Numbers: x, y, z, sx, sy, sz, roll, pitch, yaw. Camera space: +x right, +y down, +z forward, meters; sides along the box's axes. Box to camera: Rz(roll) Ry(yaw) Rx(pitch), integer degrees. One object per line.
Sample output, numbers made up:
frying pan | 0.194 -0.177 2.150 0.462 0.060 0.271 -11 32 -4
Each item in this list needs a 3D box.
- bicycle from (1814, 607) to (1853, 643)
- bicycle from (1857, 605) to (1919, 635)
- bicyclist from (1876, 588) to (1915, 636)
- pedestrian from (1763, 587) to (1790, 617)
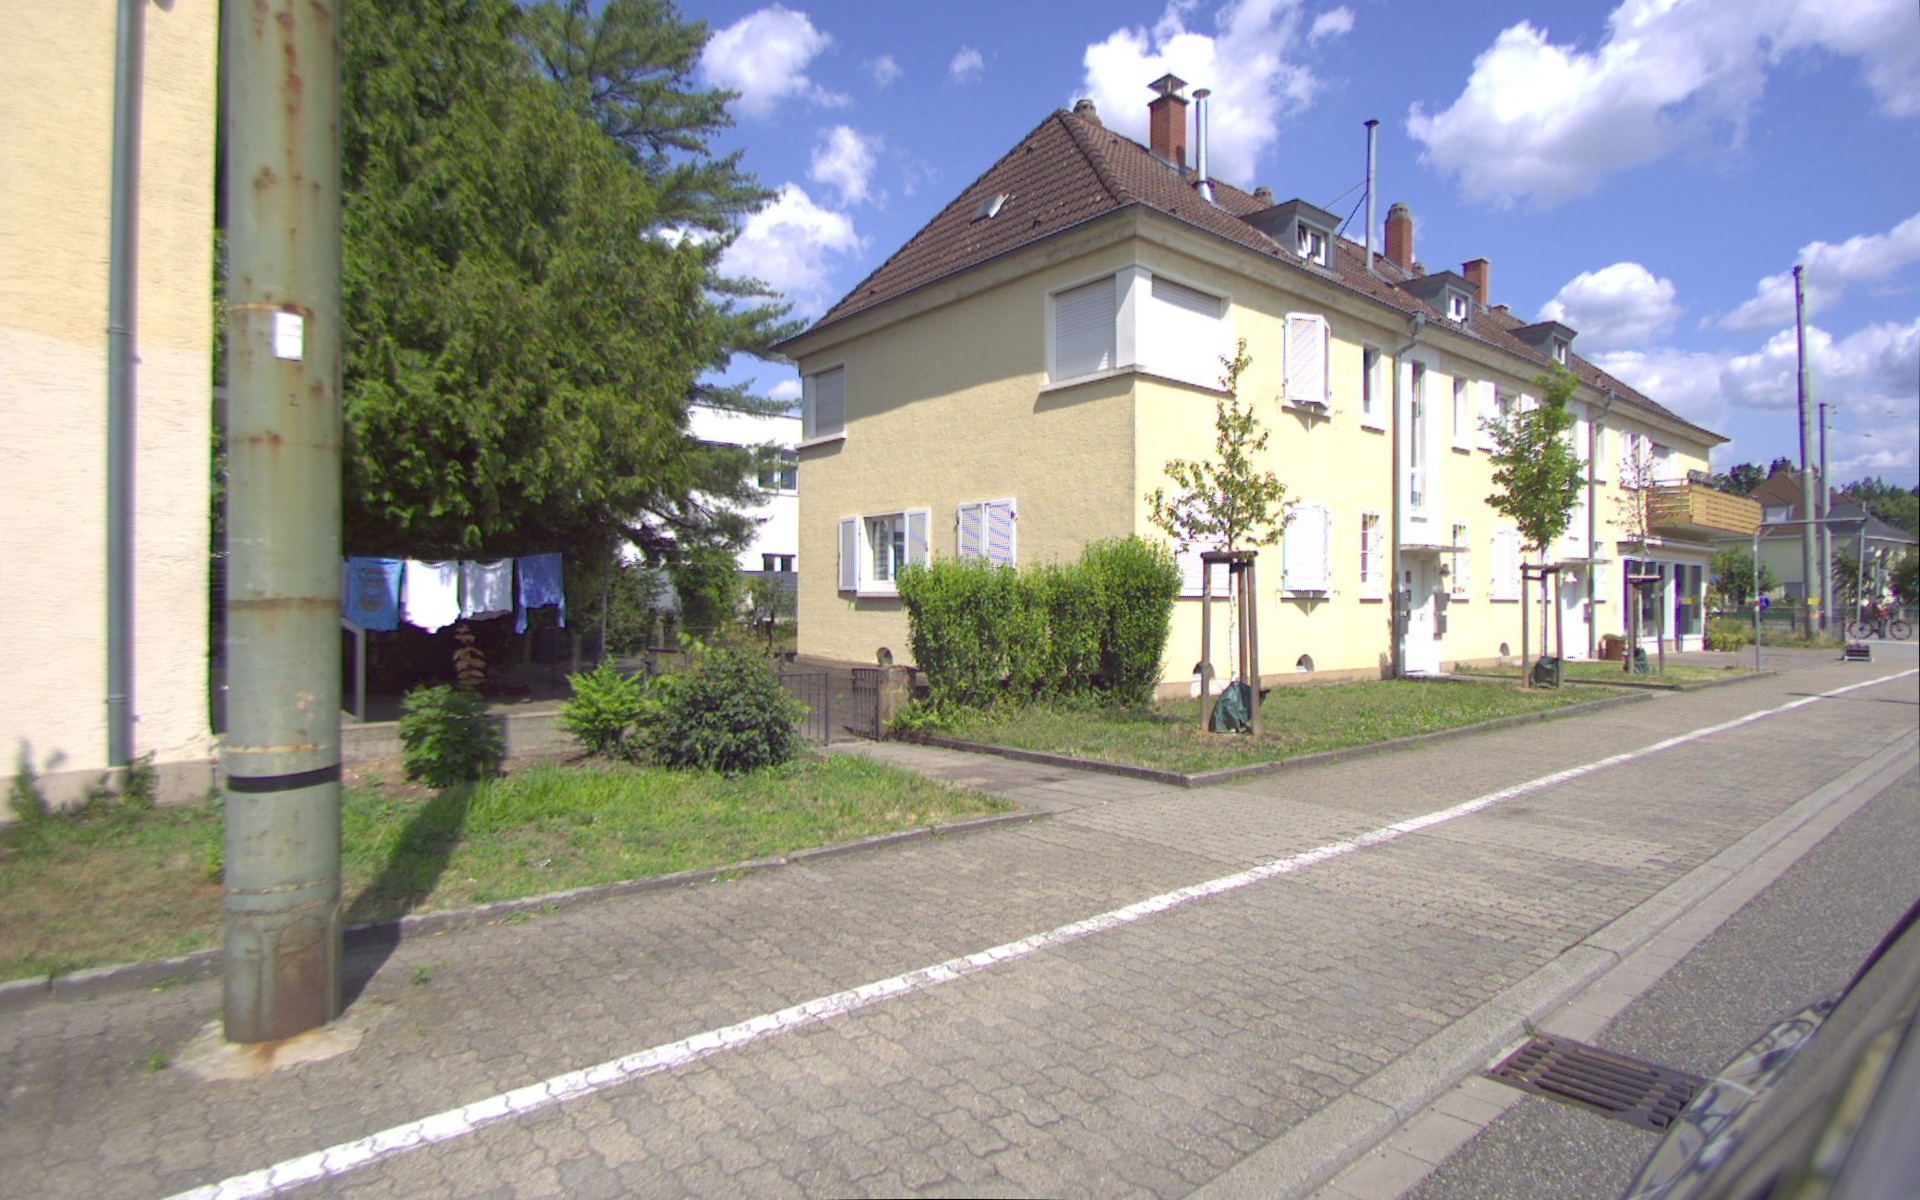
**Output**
bicycle | 28.926 0.805 33.535 0.590 1.110 2.252 0 0 31
bicycle | 35.590 0.752 38.524 2.017 1.116 0.707 0 0 31
bicyclist | 35.801 0.455 38.728 0.952 1.797 0.712 0 0 31
pedestrian | 47.624 0.121 59.038 1.021 1.757 1.032 1 -1 -37
